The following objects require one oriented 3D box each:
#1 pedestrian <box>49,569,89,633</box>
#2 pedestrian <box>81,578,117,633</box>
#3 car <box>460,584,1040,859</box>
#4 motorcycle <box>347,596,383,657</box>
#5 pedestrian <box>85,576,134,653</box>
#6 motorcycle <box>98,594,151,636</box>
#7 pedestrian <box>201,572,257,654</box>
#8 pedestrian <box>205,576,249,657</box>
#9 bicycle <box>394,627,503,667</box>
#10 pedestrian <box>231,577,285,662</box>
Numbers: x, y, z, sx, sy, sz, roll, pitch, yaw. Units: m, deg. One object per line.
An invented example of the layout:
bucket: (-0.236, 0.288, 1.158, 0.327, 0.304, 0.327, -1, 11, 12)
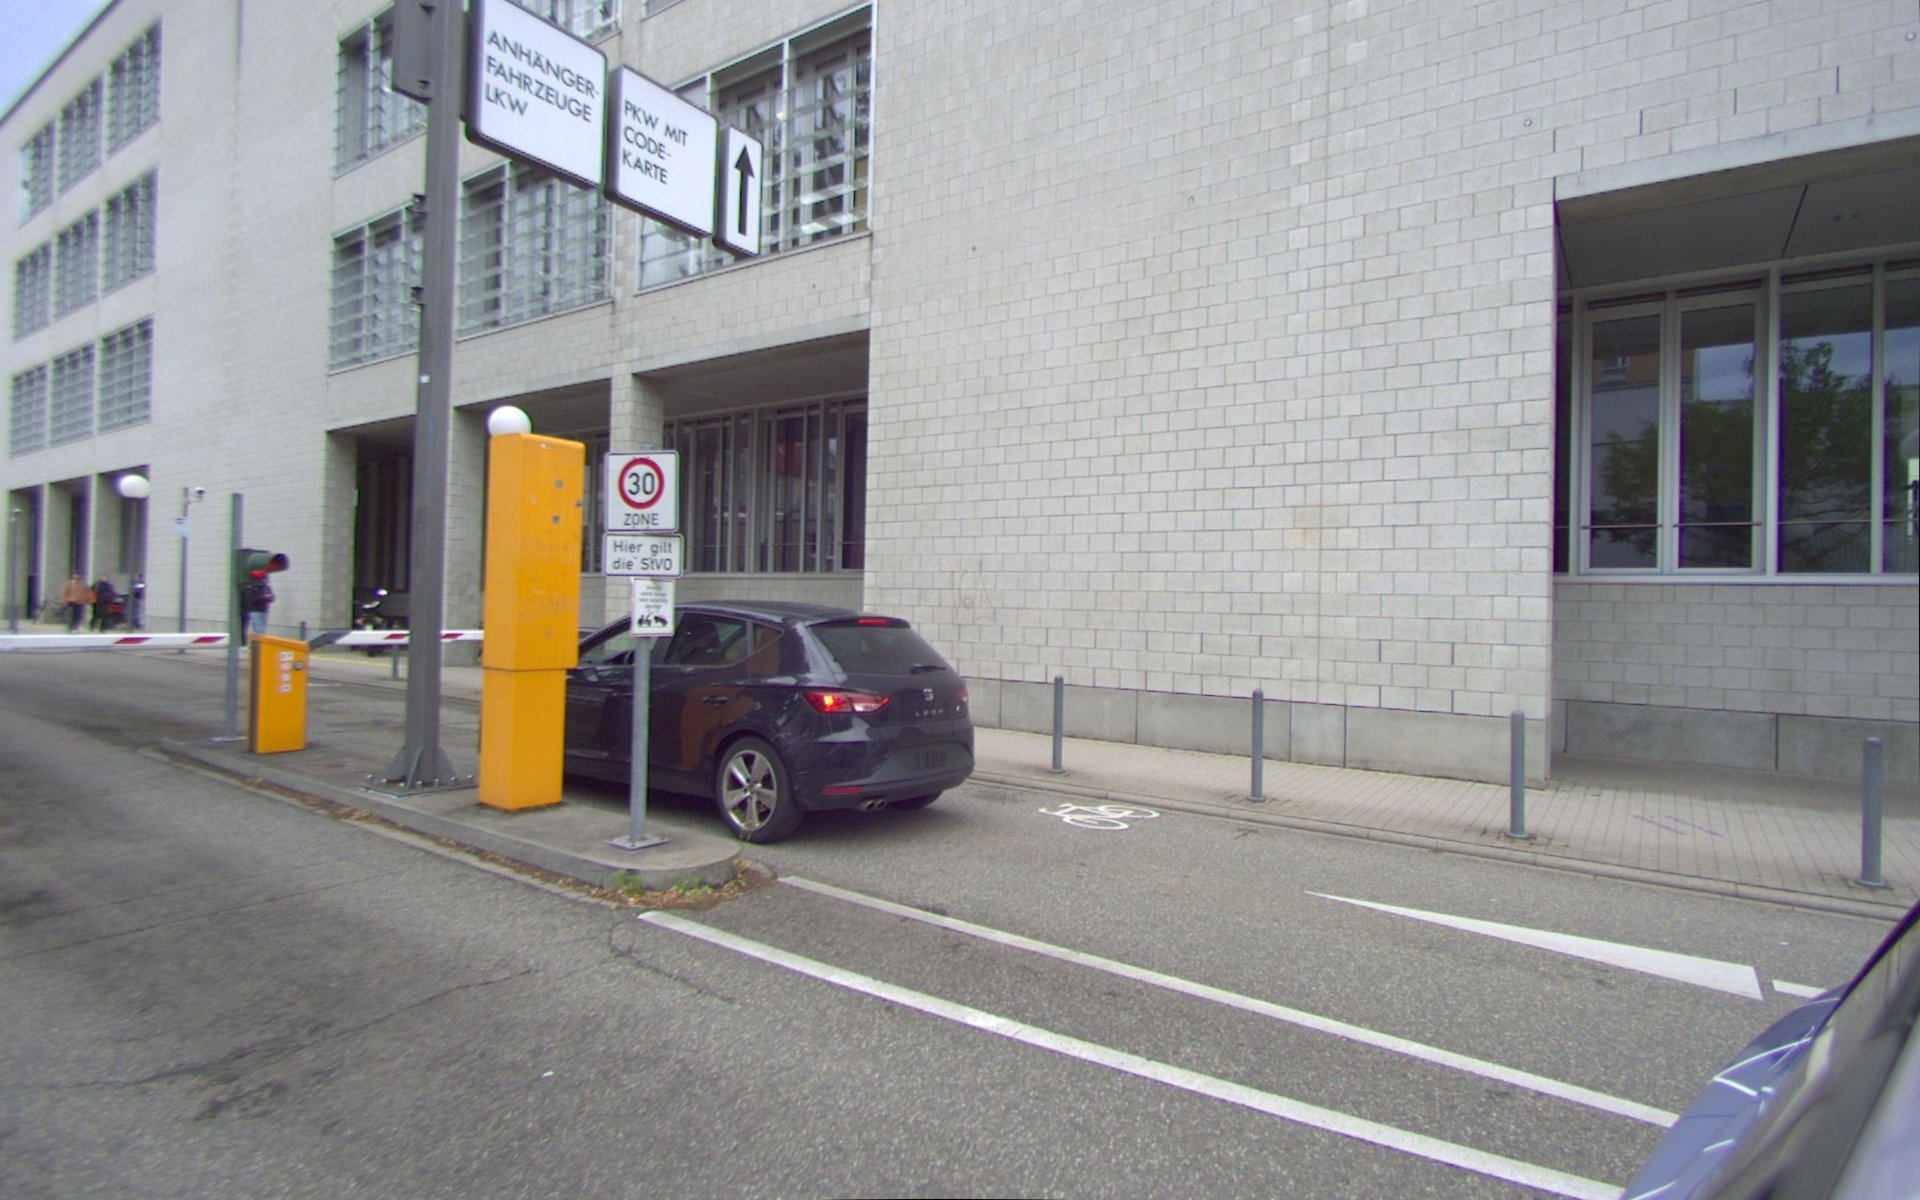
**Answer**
pedestrian: (-24.455, 0.040, 27.777, 0.487, 1.736, 0.688, 0, -2, 40)
pedestrian: (-24.226, 0.158, 28.488, 0.469, 1.546, 0.637, 0, -2, 37)
car: (-1.644, 0.645, 7.305, 4.103, 1.437, 1.765, 1, -1, 35)
motorcycle: (-12.558, 0.535, 21.397, 0.556, 1.163, 2.220, 4, 0, -30)
pedestrian: (-19.479, 0.335, 23.189, 0.485, 1.736, 0.691, 1, -1, 31)
motorcycle: (-25.736, 0.441, 31.218, 0.746, 1.163, 2.666, 4, 0, -30)
pedestrian: (-15.859, 0.282, 21.966, 0.583, 1.720, 0.722, 3, 0, 30)
pedestrian: (-15.879, 0.347, 21.920, 0.570, 1.736, 0.606, 0, 0, 33)
bicycle: (-9.884, 0.908, 19.620, 0.489, 0.707, 1.881, 3, 0, 32)
pedestrian: (-14.736, 0.404, 21.257, 0.584, 1.720, 0.683, 3, 0, 34)
